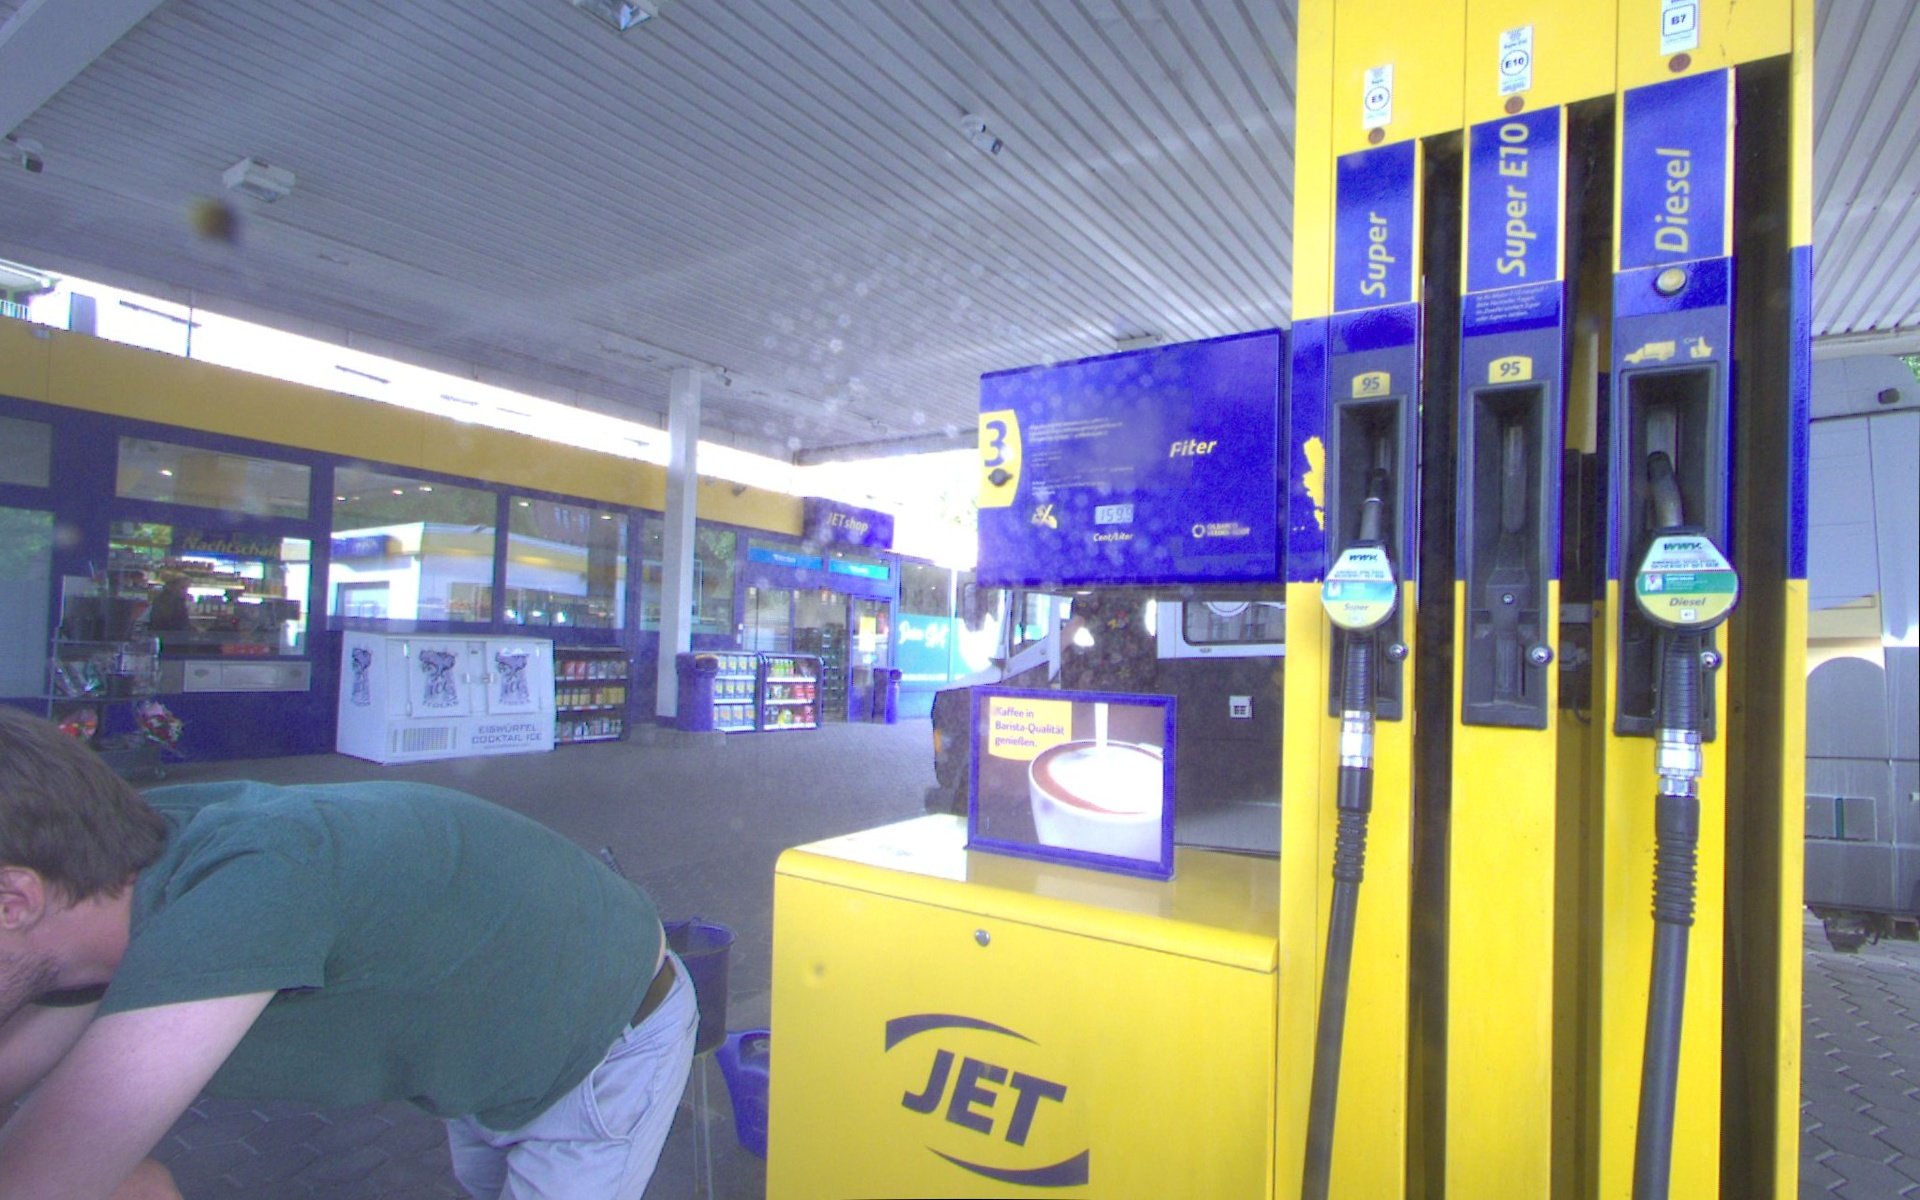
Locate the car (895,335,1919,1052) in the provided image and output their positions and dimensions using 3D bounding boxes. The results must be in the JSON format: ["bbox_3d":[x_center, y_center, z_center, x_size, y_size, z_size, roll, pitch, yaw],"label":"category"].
[{"bbox_3d":[2.386,0.412,6.028,5.219,2.724,2.250,0,-3,34],"label":"car"}]

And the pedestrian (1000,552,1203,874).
[{"bbox_3d":[0.826,0.648,6.138,0.962,1.785,0.980,0,-1,-11],"label":"pedestrian"}]

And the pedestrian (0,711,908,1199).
[{"bbox_3d":[-0.537,0.807,1.083,0.664,1.298,0.749,-1,-1,31],"label":"pedestrian"}]
